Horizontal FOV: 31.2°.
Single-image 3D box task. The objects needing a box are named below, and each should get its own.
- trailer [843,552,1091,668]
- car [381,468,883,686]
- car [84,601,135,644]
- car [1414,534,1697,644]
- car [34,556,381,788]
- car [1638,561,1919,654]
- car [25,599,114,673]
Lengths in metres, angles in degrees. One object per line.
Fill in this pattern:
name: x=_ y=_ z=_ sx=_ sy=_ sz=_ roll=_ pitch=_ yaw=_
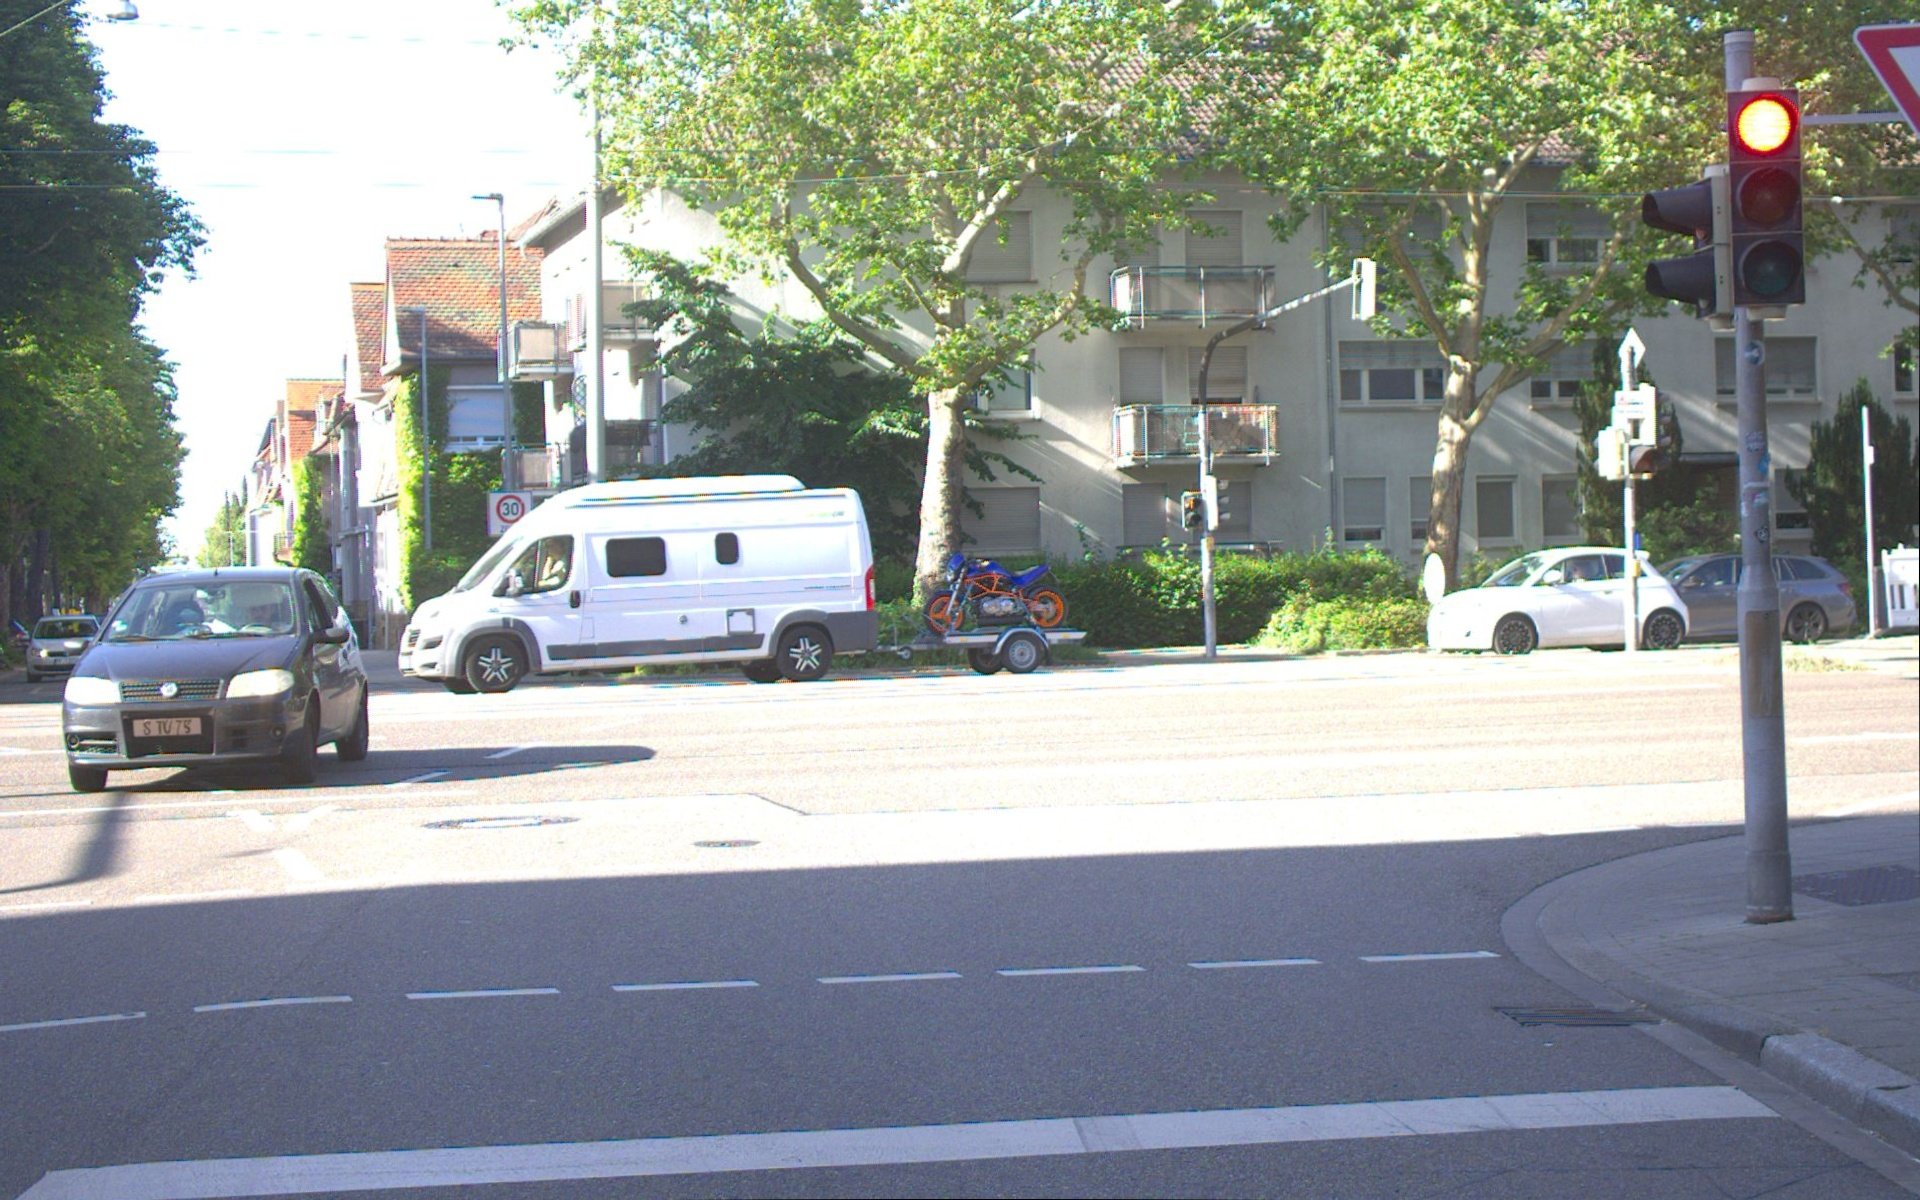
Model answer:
trailer: x=0.080 y=0.120 z=45.870 sx=2.946 sy=1.452 sz=1.515 roll=-1 pitch=1 yaw=-19
car: x=-4.213 y=-0.331 z=44.268 sx=6.106 sy=2.628 sz=1.896 roll=-1 pitch=1 yaw=-19
car: x=-32.411 y=0.829 z=131.029 sx=1.698 sy=1.478 sz=3.535 roll=-3 pitch=1 yaw=-12
car: x=8.351 y=-0.167 z=48.216 sx=3.630 sy=1.452 sz=1.503 roll=-1 pitch=1 yaw=-20
car: x=-5.126 y=0.438 z=23.839 sx=1.652 sy=1.452 sz=3.643 roll=-1 pitch=1 yaw=-1
car: x=12.821 y=0.094 z=53.062 sx=4.385 sy=1.312 sz=1.646 roll=-1 pitch=1 yaw=-20
car: x=-19.921 y=0.780 z=77.013 sx=1.698 sy=1.478 sz=3.535 roll=-3 pitch=1 yaw=-12
